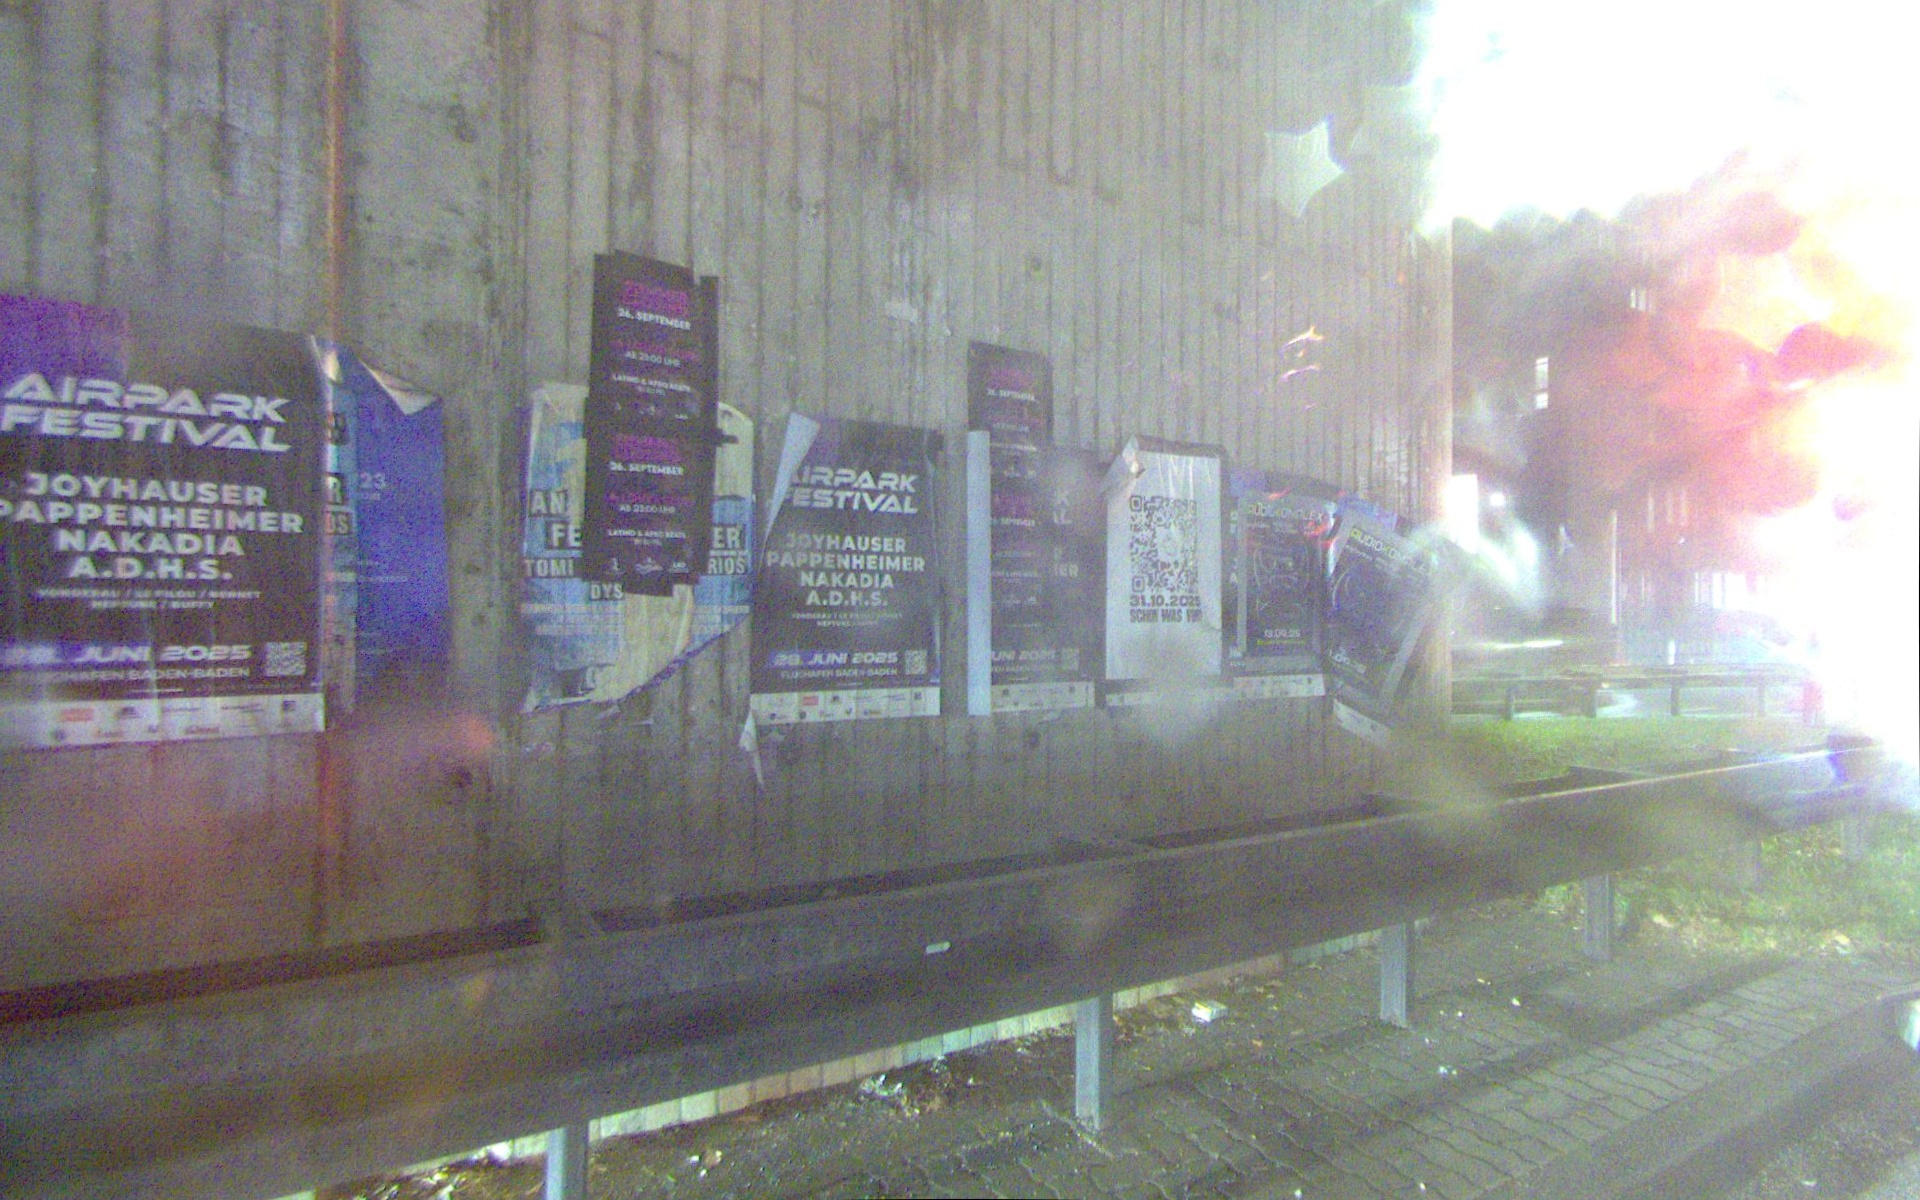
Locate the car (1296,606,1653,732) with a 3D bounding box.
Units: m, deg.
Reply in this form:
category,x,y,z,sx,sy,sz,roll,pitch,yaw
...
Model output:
category,x,y,z,sx,sy,sz,roll,pitch,yaw
car,8.029,1.055,15.836,4.832,1.764,1.967,2,0,-12
